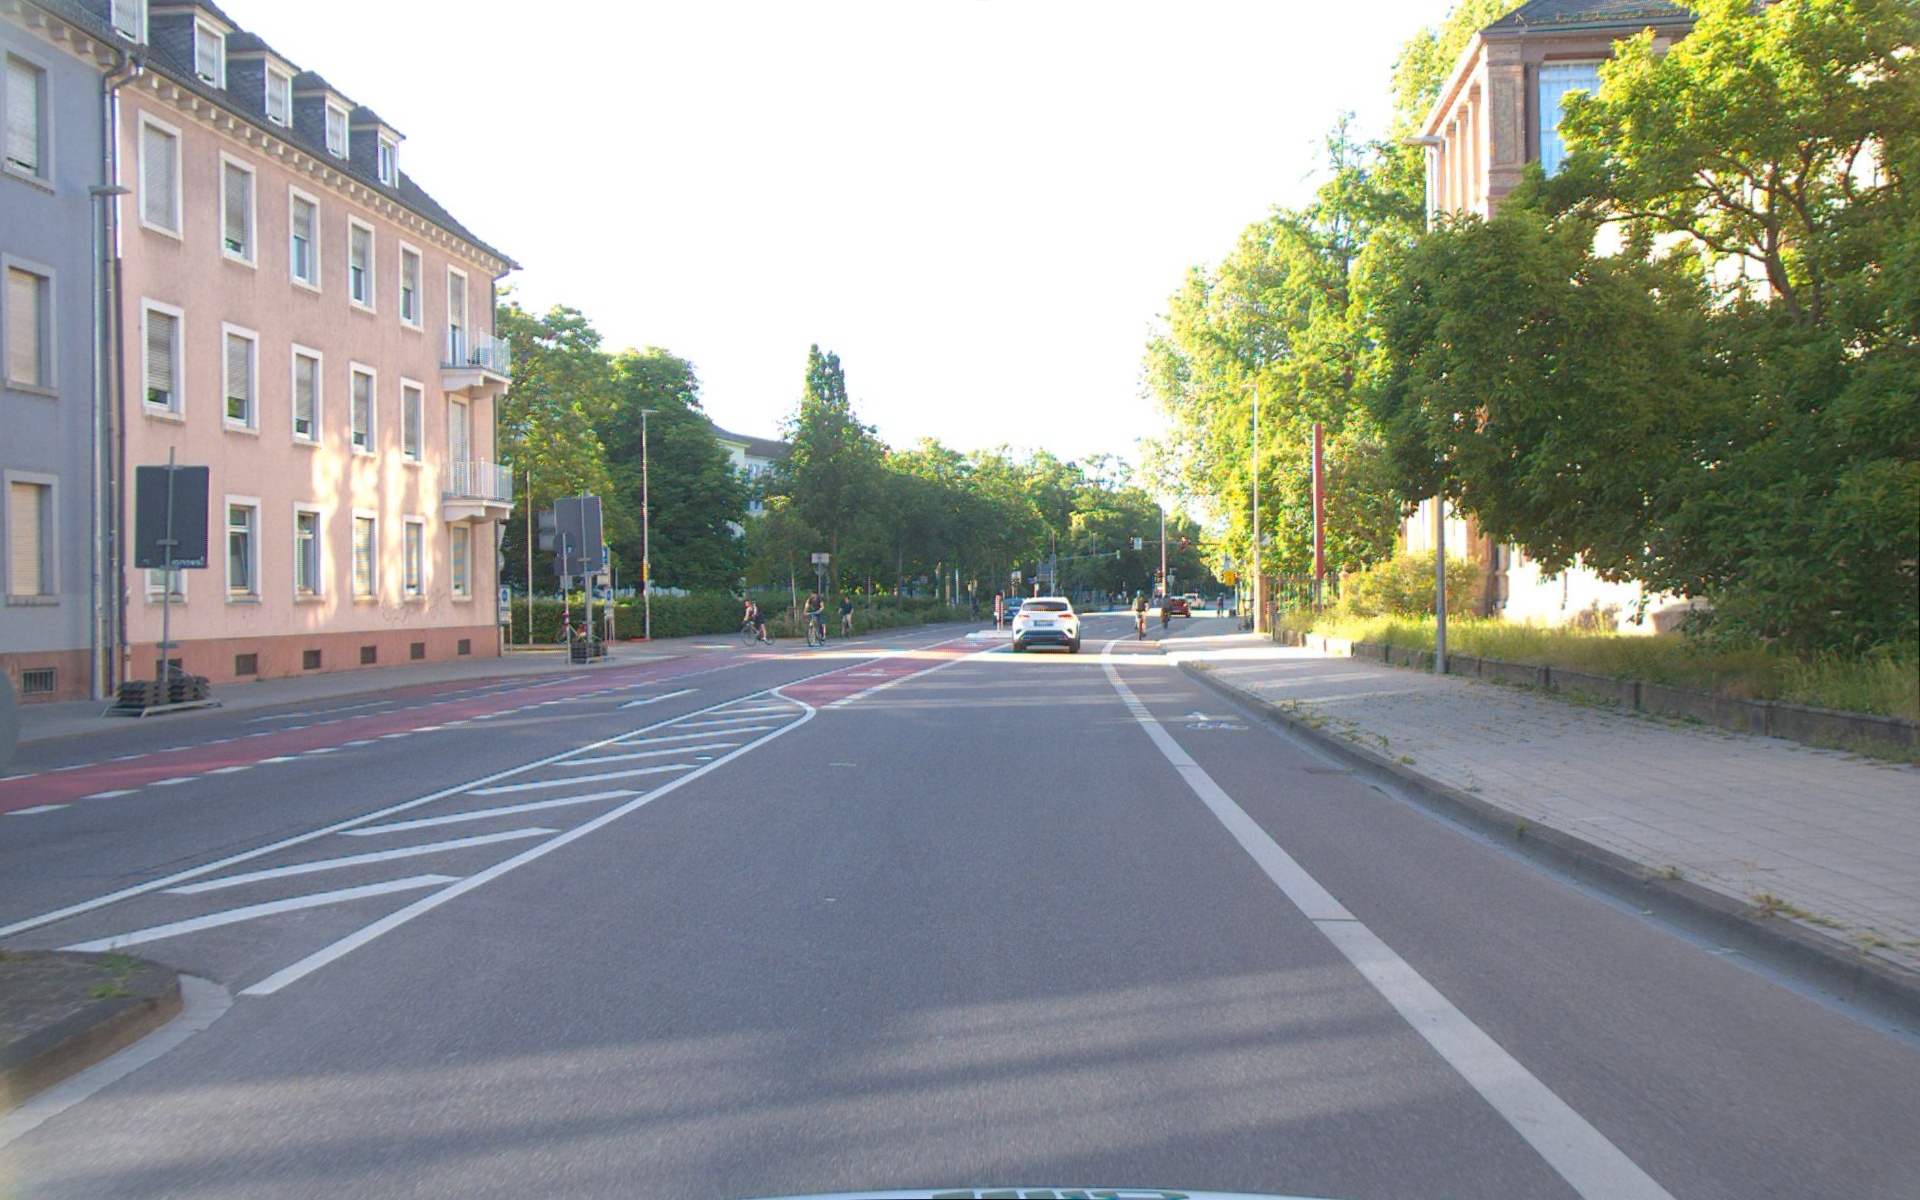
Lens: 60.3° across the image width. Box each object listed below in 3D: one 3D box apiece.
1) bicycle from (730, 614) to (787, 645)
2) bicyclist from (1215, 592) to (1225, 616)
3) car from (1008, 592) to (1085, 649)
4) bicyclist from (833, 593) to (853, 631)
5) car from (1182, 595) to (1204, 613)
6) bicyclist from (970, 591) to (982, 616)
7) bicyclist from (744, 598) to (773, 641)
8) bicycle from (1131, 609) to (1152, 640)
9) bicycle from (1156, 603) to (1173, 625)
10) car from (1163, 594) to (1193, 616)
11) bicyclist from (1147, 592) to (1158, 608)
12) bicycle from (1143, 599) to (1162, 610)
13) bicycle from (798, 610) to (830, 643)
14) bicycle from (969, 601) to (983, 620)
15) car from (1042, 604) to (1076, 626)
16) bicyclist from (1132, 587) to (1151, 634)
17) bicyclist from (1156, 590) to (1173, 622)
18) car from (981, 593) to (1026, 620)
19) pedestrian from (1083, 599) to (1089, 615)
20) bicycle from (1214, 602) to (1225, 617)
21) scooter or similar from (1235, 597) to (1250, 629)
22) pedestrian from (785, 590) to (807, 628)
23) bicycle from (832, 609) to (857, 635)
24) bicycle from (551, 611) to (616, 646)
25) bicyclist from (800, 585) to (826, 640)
[{"bbox_3d":[-7.250,1.072,59.705,0.726,1.013,2.099,-1,1,39],"label":"bicycle"},{"bbox_3d":[19.177,0.317,121.948,0.733,1.780,0.844,0,0,11],"label":"bicyclist"},{"bbox_3d":[2.471,0.547,46.383,1.951,1.478,4.003,-2,0,6],"label":"car"},{"bbox_3d":[-4.788,0.477,67.671,0.642,1.511,0.665,-4,0,5],"label":"bicyclist"},{"bbox_3d":[21.281,0.359,151.118,1.700,1.573,4.004,-1,0,13],"label":"car"},{"bbox_3d":[1.030,0.238,106.905,0.616,1.549,0.725,-4,0,8],"label":"bicyclist"},{"bbox_3d":[-7.273,0.713,59.716,0.726,1.511,0.662,-3,0,40],"label":"bicyclist"},{"bbox_3d":[6.407,0.838,58.330,0.629,1.042,2.214,0,0,9],"label":"bicycle"},{"bbox_3d":[10.023,0.674,81.075,0.737,1.044,1.871,0,-1,11],"label":"bicycle"},{"bbox_3d":[15.990,0.356,121.090,1.888,1.560,4.004,-2,0,11],"label":"car"},{"bbox_3d":[18.261,0.022,157.198,0.903,1.535,0.506,-1,0,18],"label":"bicyclist"},{"bbox_3d":[18.284,0.387,157.192,1.729,1.007,0.512,-1,0,18],"label":"bicycle"},{"bbox_3d":[-4.794,0.855,54.291,0.632,1.013,2.110,-2,0,5],"label":"bicycle"},{"bbox_3d":[1.047,0.684,106.891,0.584,1.140,2.028,-4,0,8],"label":"bicycle"},{"bbox_3d":[7.043,1.072,117.507,1.720,1.484,4.003,-1,0,13],"label":"car"},{"bbox_3d":[6.408,0.357,58.357,0.622,1.642,1.285,0,0,9],"label":"bicyclist"},{"bbox_3d":[10.030,0.307,81.162,0.731,1.564,0.970,0,0,11],"label":"bicyclist"},{"bbox_3d":[2.477,0.335,92.543,1.773,1.444,4.559,-1,0,11],"label":"car"},{"bbox_3d":[15.020,0.864,196.908,0.637,1.921,0.663,-2,0,13],"label":"pedestrian"},{"bbox_3d":[19.164,0.706,121.928,0.737,1.044,1.871,0,-1,11],"label":"bicycle"},{"bbox_3d":[11.214,0.522,65.687,0.291,1.261,1.160,-2,0,-5],"label":"scooter or similar"},{"bbox_3d":[-8.392,0.457,84.778,0.837,1.884,1.002,-2,0,9],"label":"pedestrian"},{"bbox_3d":[-4.729,0.882,67.754,0.637,1.013,2.110,-2,0,5],"label":"bicycle"},{"bbox_3d":[-14.058,1.063,61.760,2.270,1.251,0.561,-1,0,10],"label":"bicycle"},{"bbox_3d":[-4.821,0.404,54.378,0.622,1.740,0.739,-4,0,5],"label":"bicyclist"}]
